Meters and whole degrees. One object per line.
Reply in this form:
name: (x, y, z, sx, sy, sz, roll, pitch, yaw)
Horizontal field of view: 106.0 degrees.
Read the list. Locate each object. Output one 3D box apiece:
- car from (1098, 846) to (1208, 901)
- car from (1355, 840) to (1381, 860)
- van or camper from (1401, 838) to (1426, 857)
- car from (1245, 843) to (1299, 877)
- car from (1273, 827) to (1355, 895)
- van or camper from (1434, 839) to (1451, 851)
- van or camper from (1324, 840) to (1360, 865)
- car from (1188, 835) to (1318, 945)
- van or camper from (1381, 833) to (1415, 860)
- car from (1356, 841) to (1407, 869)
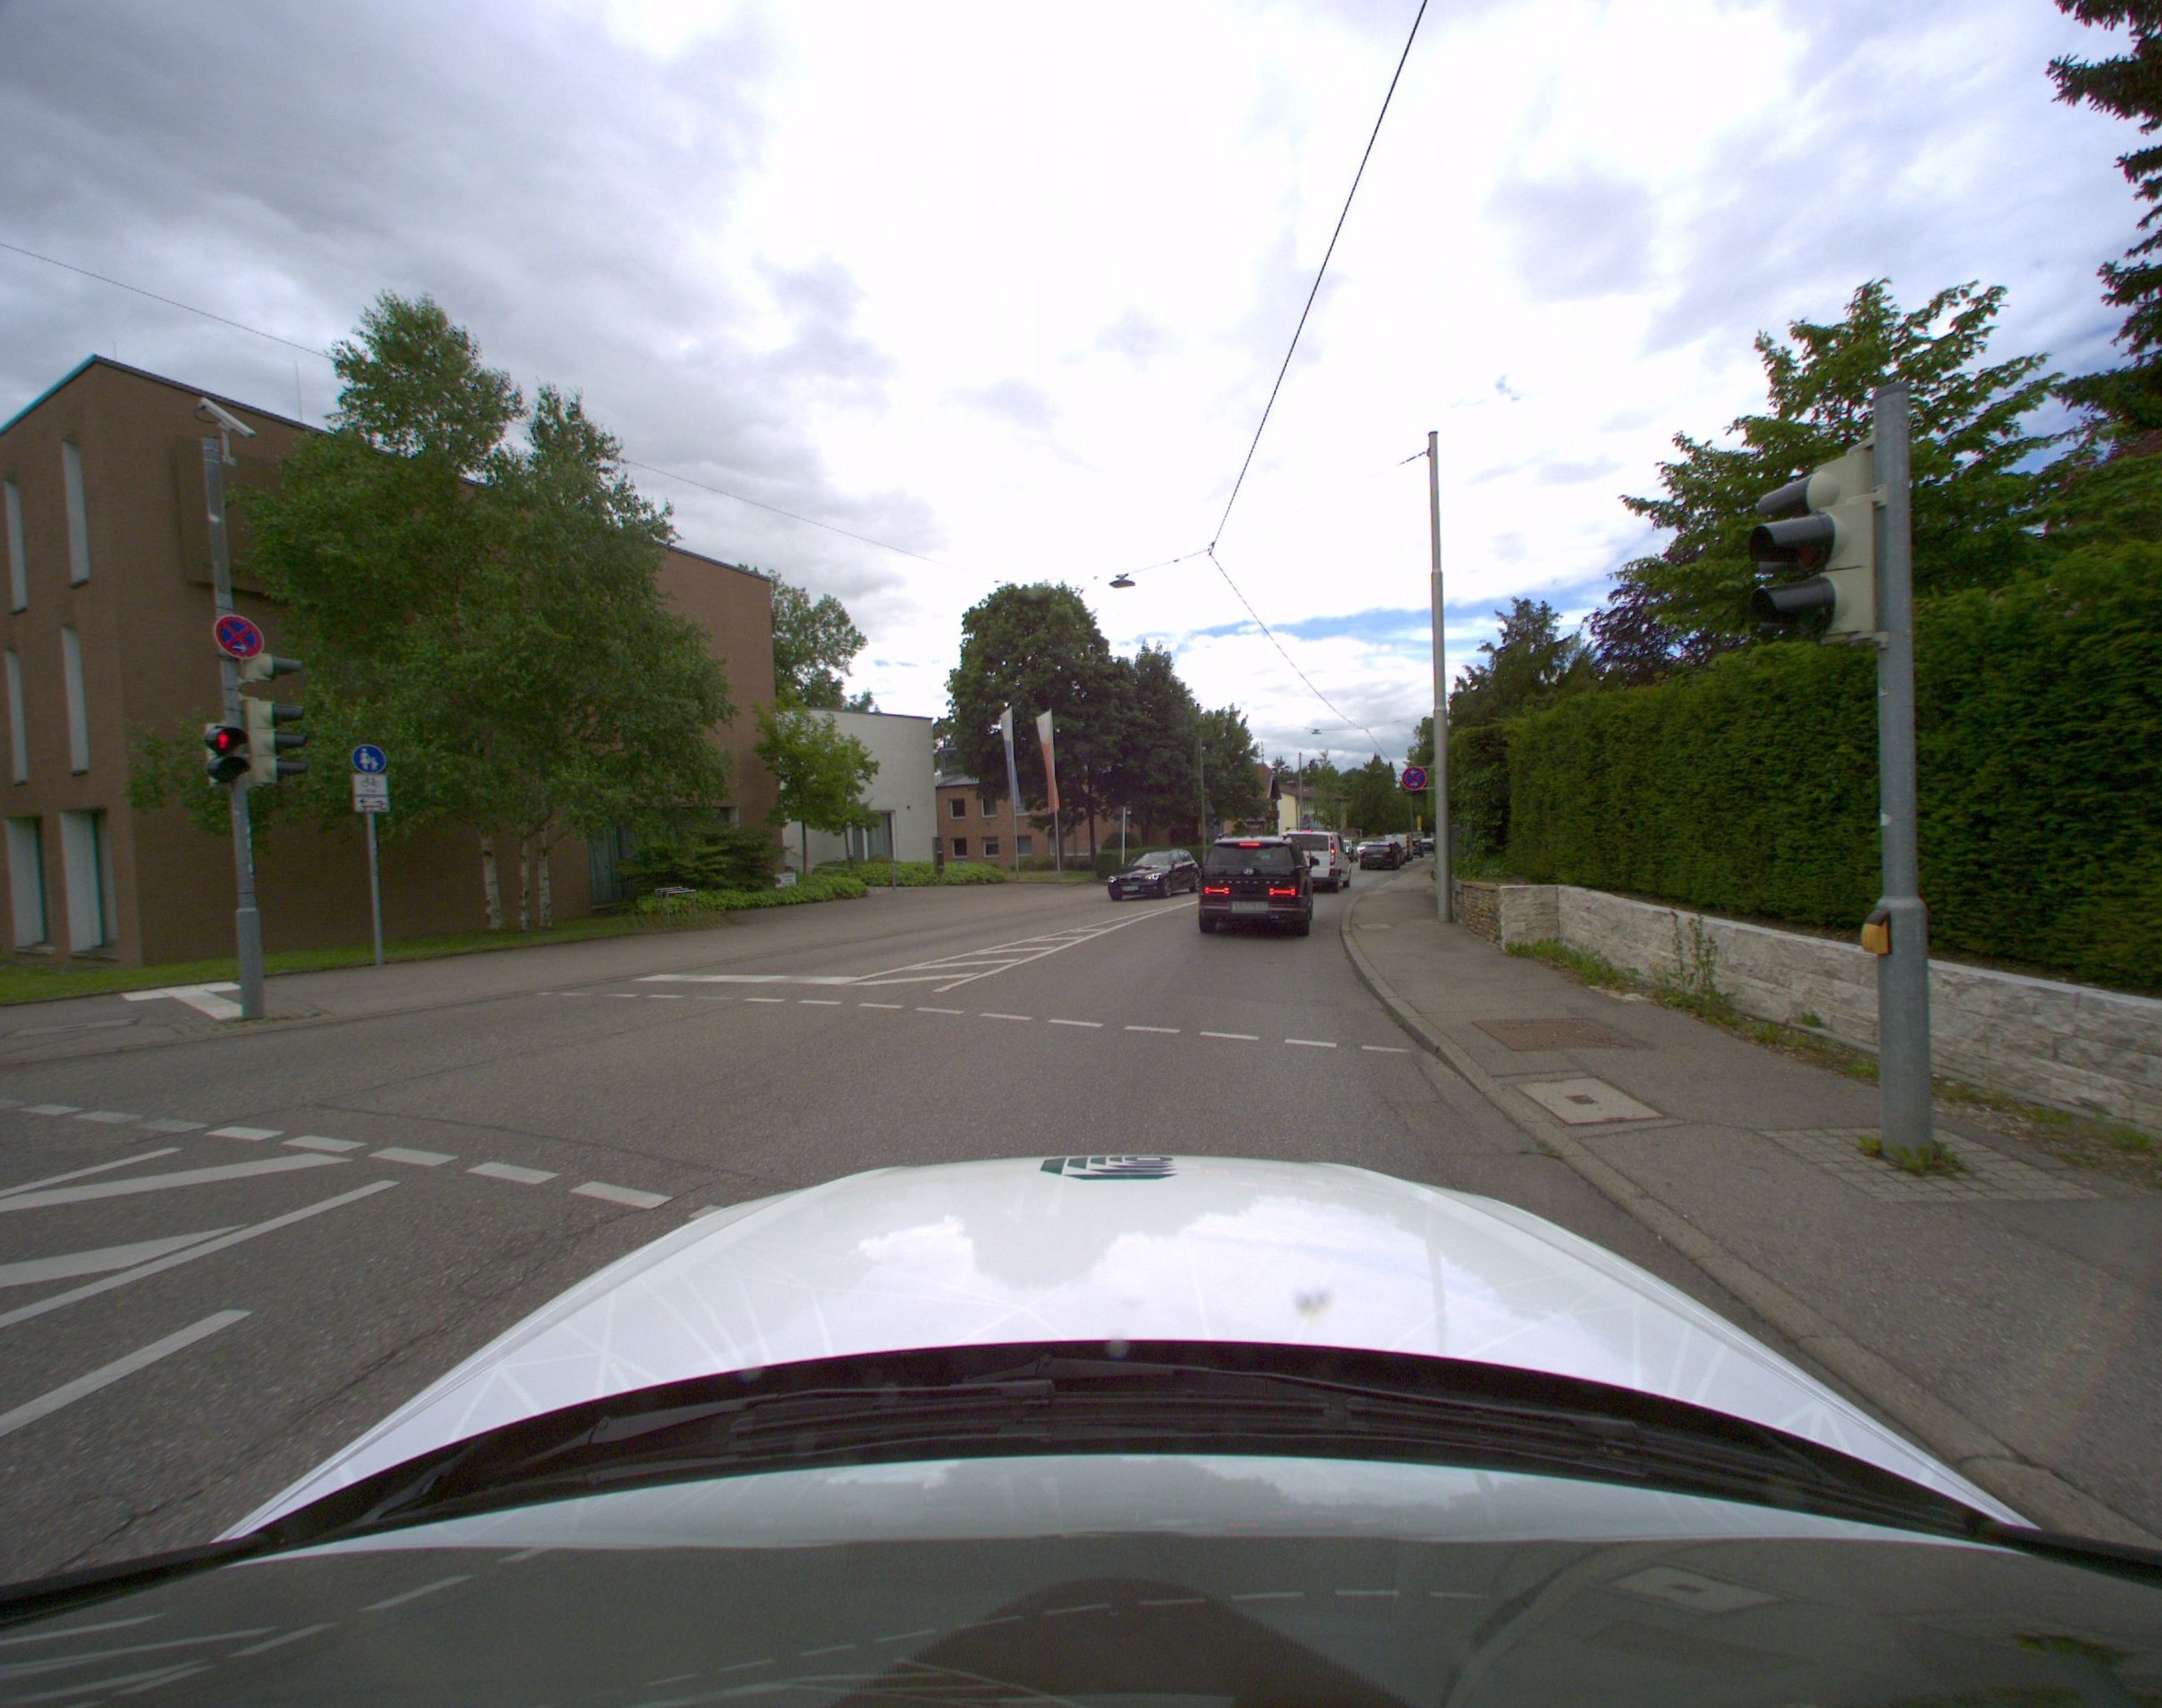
car: (2.262, 0.541, 24.627, 1.745, 1.408, 4.026, -4, 0, 29)
car: (27.093, -0.405, 76.754, 1.975, 1.816, 4.023, -1, 0, 24)
van or camper: (29.667, -0.599, 72.749, 1.976, 1.628, 4.021, -3, 0, 21)
car: (9.247, 0.249, 39.274, 1.680, 1.440, 3.779, -5, -1, 26)
car: (7.685, 0.156, 26.626, 1.940, 1.955, 4.247, 3, 2, 23)
van or camper: (53.828, -1.416, 121.262, 1.975, 1.651, 4.024, -3, 0, 26)
van or camper: (18.428, -0.136, 57.421, 1.976, 1.607, 4.022, -3, 0, 23)
car: (3.389, 0.519, 15.369, 1.941, 1.712, 4.243, 1, 2, 18)
van or camper: (23.773, -0.561, 60.991, 1.975, 1.887, 4.024, -3, 0, 26)
car: (16.219, 0.045, 43.850, 1.975, 1.404, 4.025, -2, 0, 28)
